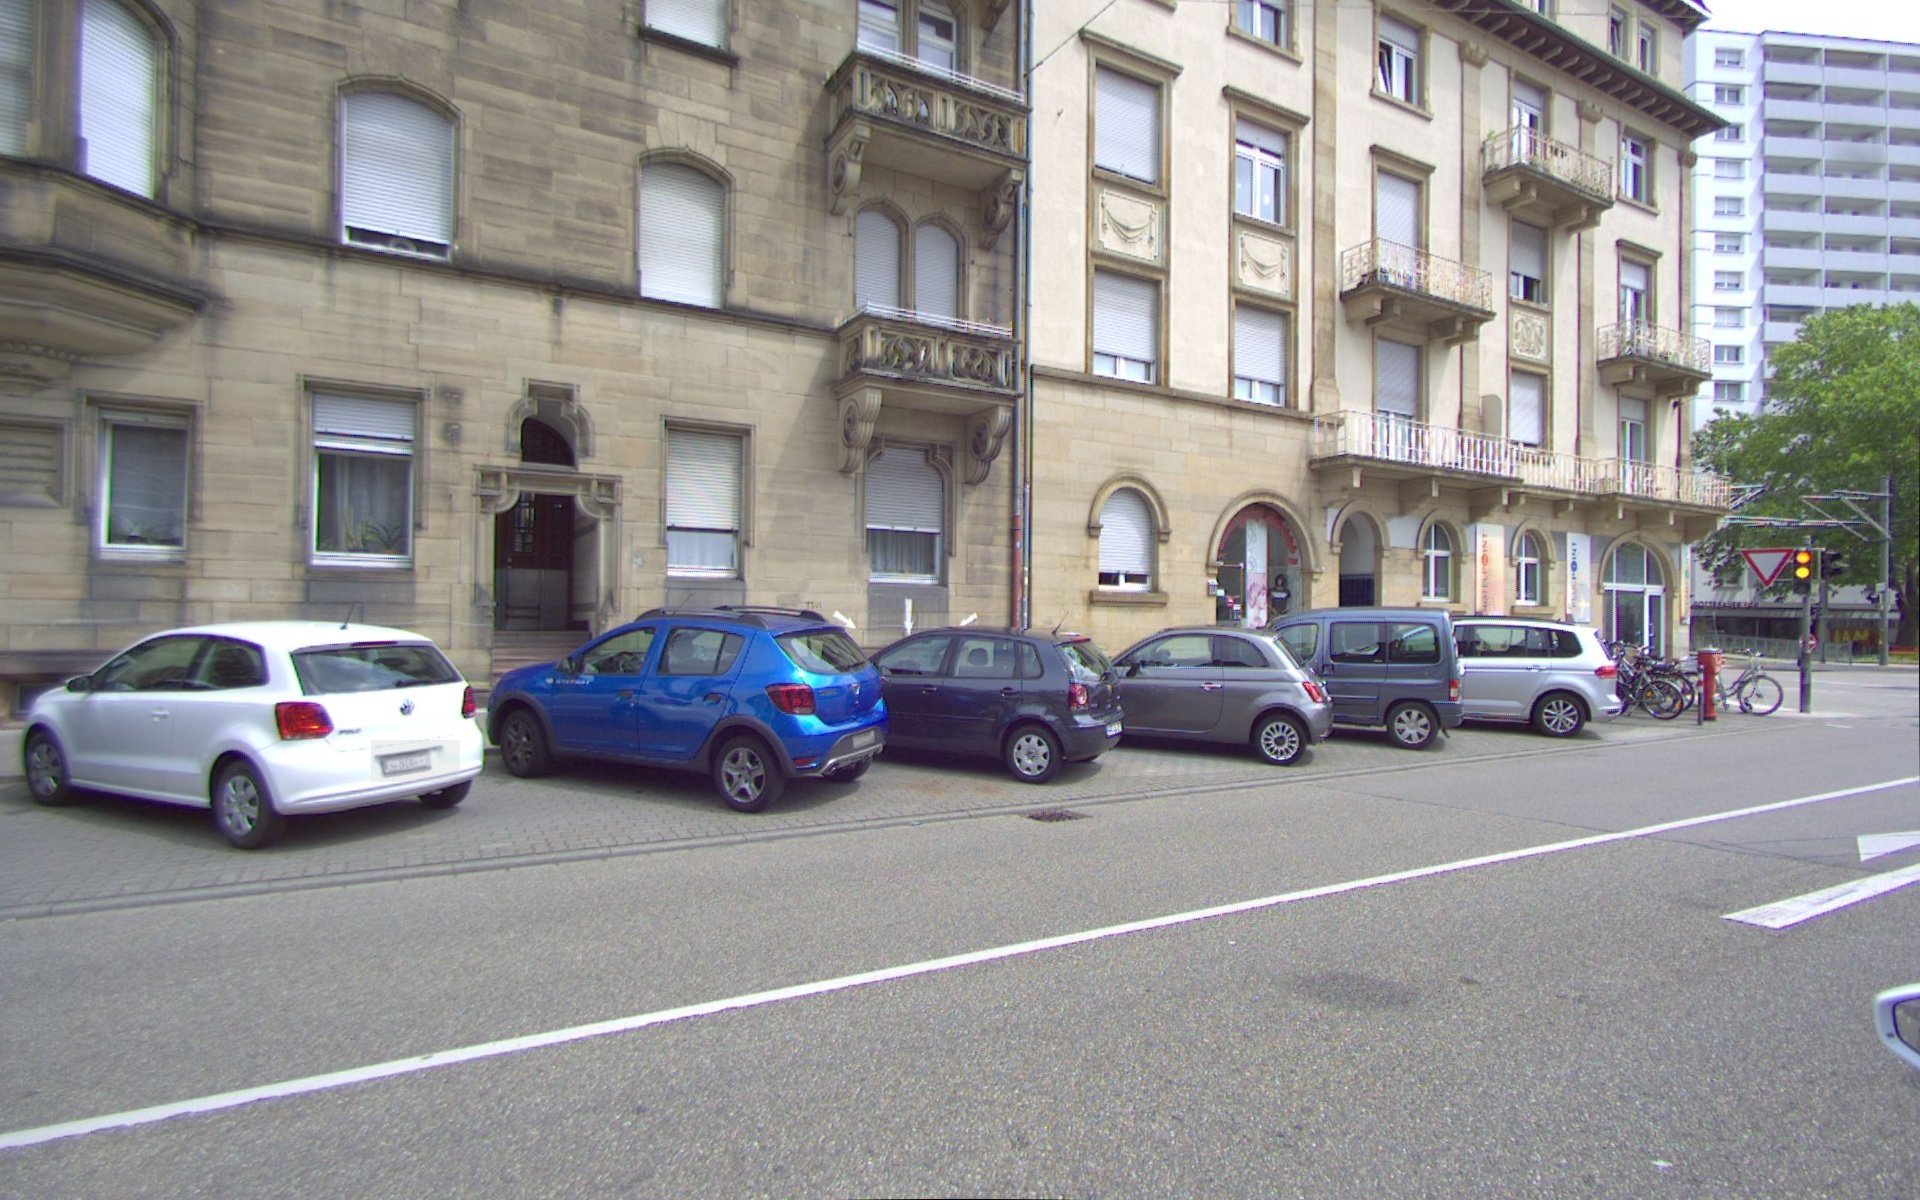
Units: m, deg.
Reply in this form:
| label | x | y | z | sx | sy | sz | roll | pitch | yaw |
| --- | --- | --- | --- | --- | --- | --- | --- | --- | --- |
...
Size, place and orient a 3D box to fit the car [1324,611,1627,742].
| label | x | y | z | sx | sy | sz | roll | pitch | yaw |
| --- | --- | --- | --- | --- | --- | --- | --- | --- | --- |
| car | 7.708 | 1.078 | 15.443 | 3.934 | 1.797 | 1.796 | 0 | -1 | 22 |

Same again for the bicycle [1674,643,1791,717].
| label | x | y | z | sx | sy | sz | roll | pitch | yaw |
| --- | --- | --- | --- | --- | --- | --- | --- | --- | --- |
| bicycle | 14.264 | 1.453 | 18.613 | 0.489 | 1.182 | 1.878 | 2 | 1 | -9 |

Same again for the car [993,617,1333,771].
| label | x | y | z | sx | sy | sz | roll | pitch | yaw |
| --- | --- | --- | --- | --- | --- | --- | --- | --- | --- |
| car | 2.571 | 1.070 | 12.633 | 3.934 | 1.673 | 1.796 | 0 | -1 | 22 |

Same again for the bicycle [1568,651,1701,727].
| label | x | y | z | sx | sy | sz | roll | pitch | yaw |
| --- | --- | --- | --- | --- | --- | --- | --- | --- | --- |
| bicycle | 11.073 | 1.437 | 16.555 | 0.586 | 1.135 | 1.805 | 1 | -1 | -23 |

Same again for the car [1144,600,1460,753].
| label | x | y | z | sx | sy | sz | roll | pitch | yaw |
| --- | --- | --- | --- | --- | --- | --- | --- | --- | --- |
| car | 4.714 | 0.971 | 14.046 | 3.934 | 1.903 | 1.796 | 0 | -1 | 22 |

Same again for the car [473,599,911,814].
| label | x | y | z | sx | sy | sz | roll | pitch | yaw |
| --- | --- | --- | --- | --- | --- | --- | --- | --- | --- |
| car | -2.497 | 0.849 | 9.384 | 3.706 | 1.673 | 1.723 | 0 | -1 | 24 |

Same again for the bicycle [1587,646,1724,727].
| label | x | y | z | sx | sy | sz | roll | pitch | yaw |
| --- | --- | --- | --- | --- | --- | --- | --- | --- | --- |
| bicycle | 11.649 | 1.413 | 16.891 | 0.586 | 1.135 | 1.803 | 1 | 2 | -25 |

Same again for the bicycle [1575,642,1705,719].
| label | x | y | z | sx | sy | sz | roll | pitch | yaw |
| --- | --- | --- | --- | --- | --- | --- | --- | --- | --- |
| bicycle | 11.993 | 1.396 | 17.771 | 0.588 | 1.182 | 1.796 | 1 | 1 | -37 |

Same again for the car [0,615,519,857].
| label | x | y | z | sx | sy | sz | roll | pitch | yaw |
| --- | --- | --- | --- | --- | --- | --- | --- | --- | --- |
| car | -5.466 | 0.881 | 7.836 | 3.616 | 1.501 | 1.741 | 0 | -1 | 25 |

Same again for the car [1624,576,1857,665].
| label | x | y | z | sx | sy | sz | roll | pitch | yaw |
| --- | --- | --- | --- | --- | --- | --- | --- | --- | --- |
| car | 38.261 | 1.036 | 49.961 | 3.389 | 3.967 | 9.911 | 0 | -1 | -5 |

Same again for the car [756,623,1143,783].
| label | x | y | z | sx | sy | sz | roll | pitch | yaw |
| --- | --- | --- | --- | --- | --- | --- | --- | --- | --- |
| car | -0.108 | 0.993 | 10.992 | 3.830 | 1.463 | 1.836 | 0 | -1 | 25 |

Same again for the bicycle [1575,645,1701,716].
| label | x | y | z | sx | sy | sz | roll | pitch | yaw |
| --- | --- | --- | --- | --- | --- | --- | --- | --- | --- |
| bicycle | 12.355 | 1.440 | 18.365 | 0.588 | 1.135 | 1.796 | 1 | 1 | -37 |

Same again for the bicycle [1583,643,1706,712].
| label | x | y | z | sx | sy | sz | roll | pitch | yaw |
| --- | --- | --- | --- | --- | --- | --- | --- | --- | --- |
| bicycle | 12.849 | 1.426 | 18.896 | 0.588 | 1.135 | 1.796 | 1 | 1 | -37 |
